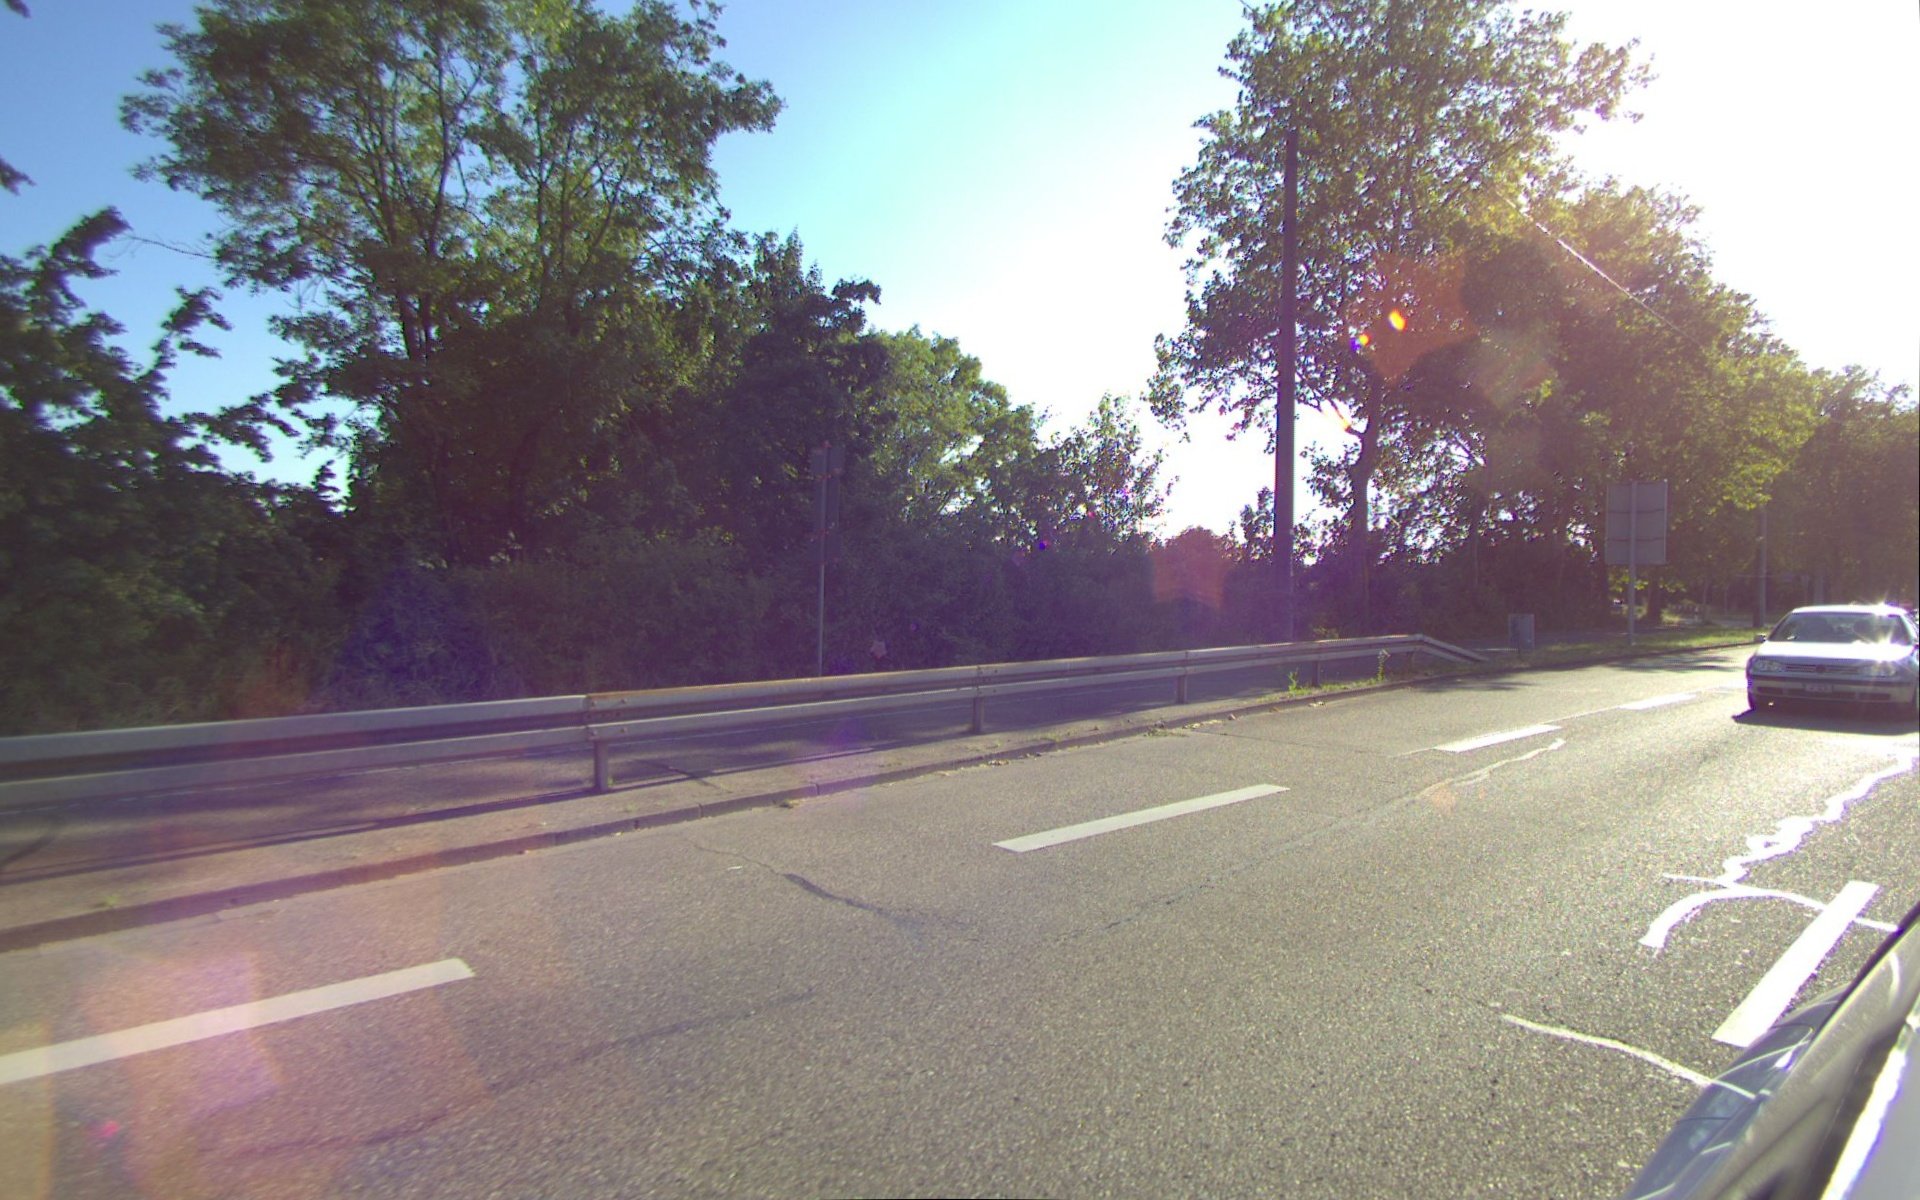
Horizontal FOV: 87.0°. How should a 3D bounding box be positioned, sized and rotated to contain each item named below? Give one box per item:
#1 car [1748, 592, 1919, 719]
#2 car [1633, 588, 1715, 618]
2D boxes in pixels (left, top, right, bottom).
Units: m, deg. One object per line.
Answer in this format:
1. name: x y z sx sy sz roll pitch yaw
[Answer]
1. car: 12.378 0.642 13.848 3.930 1.463 1.724 -1 1 -40
2. car: 43.610 0.150 61.889 3.971 1.685 1.869 2 1 33
